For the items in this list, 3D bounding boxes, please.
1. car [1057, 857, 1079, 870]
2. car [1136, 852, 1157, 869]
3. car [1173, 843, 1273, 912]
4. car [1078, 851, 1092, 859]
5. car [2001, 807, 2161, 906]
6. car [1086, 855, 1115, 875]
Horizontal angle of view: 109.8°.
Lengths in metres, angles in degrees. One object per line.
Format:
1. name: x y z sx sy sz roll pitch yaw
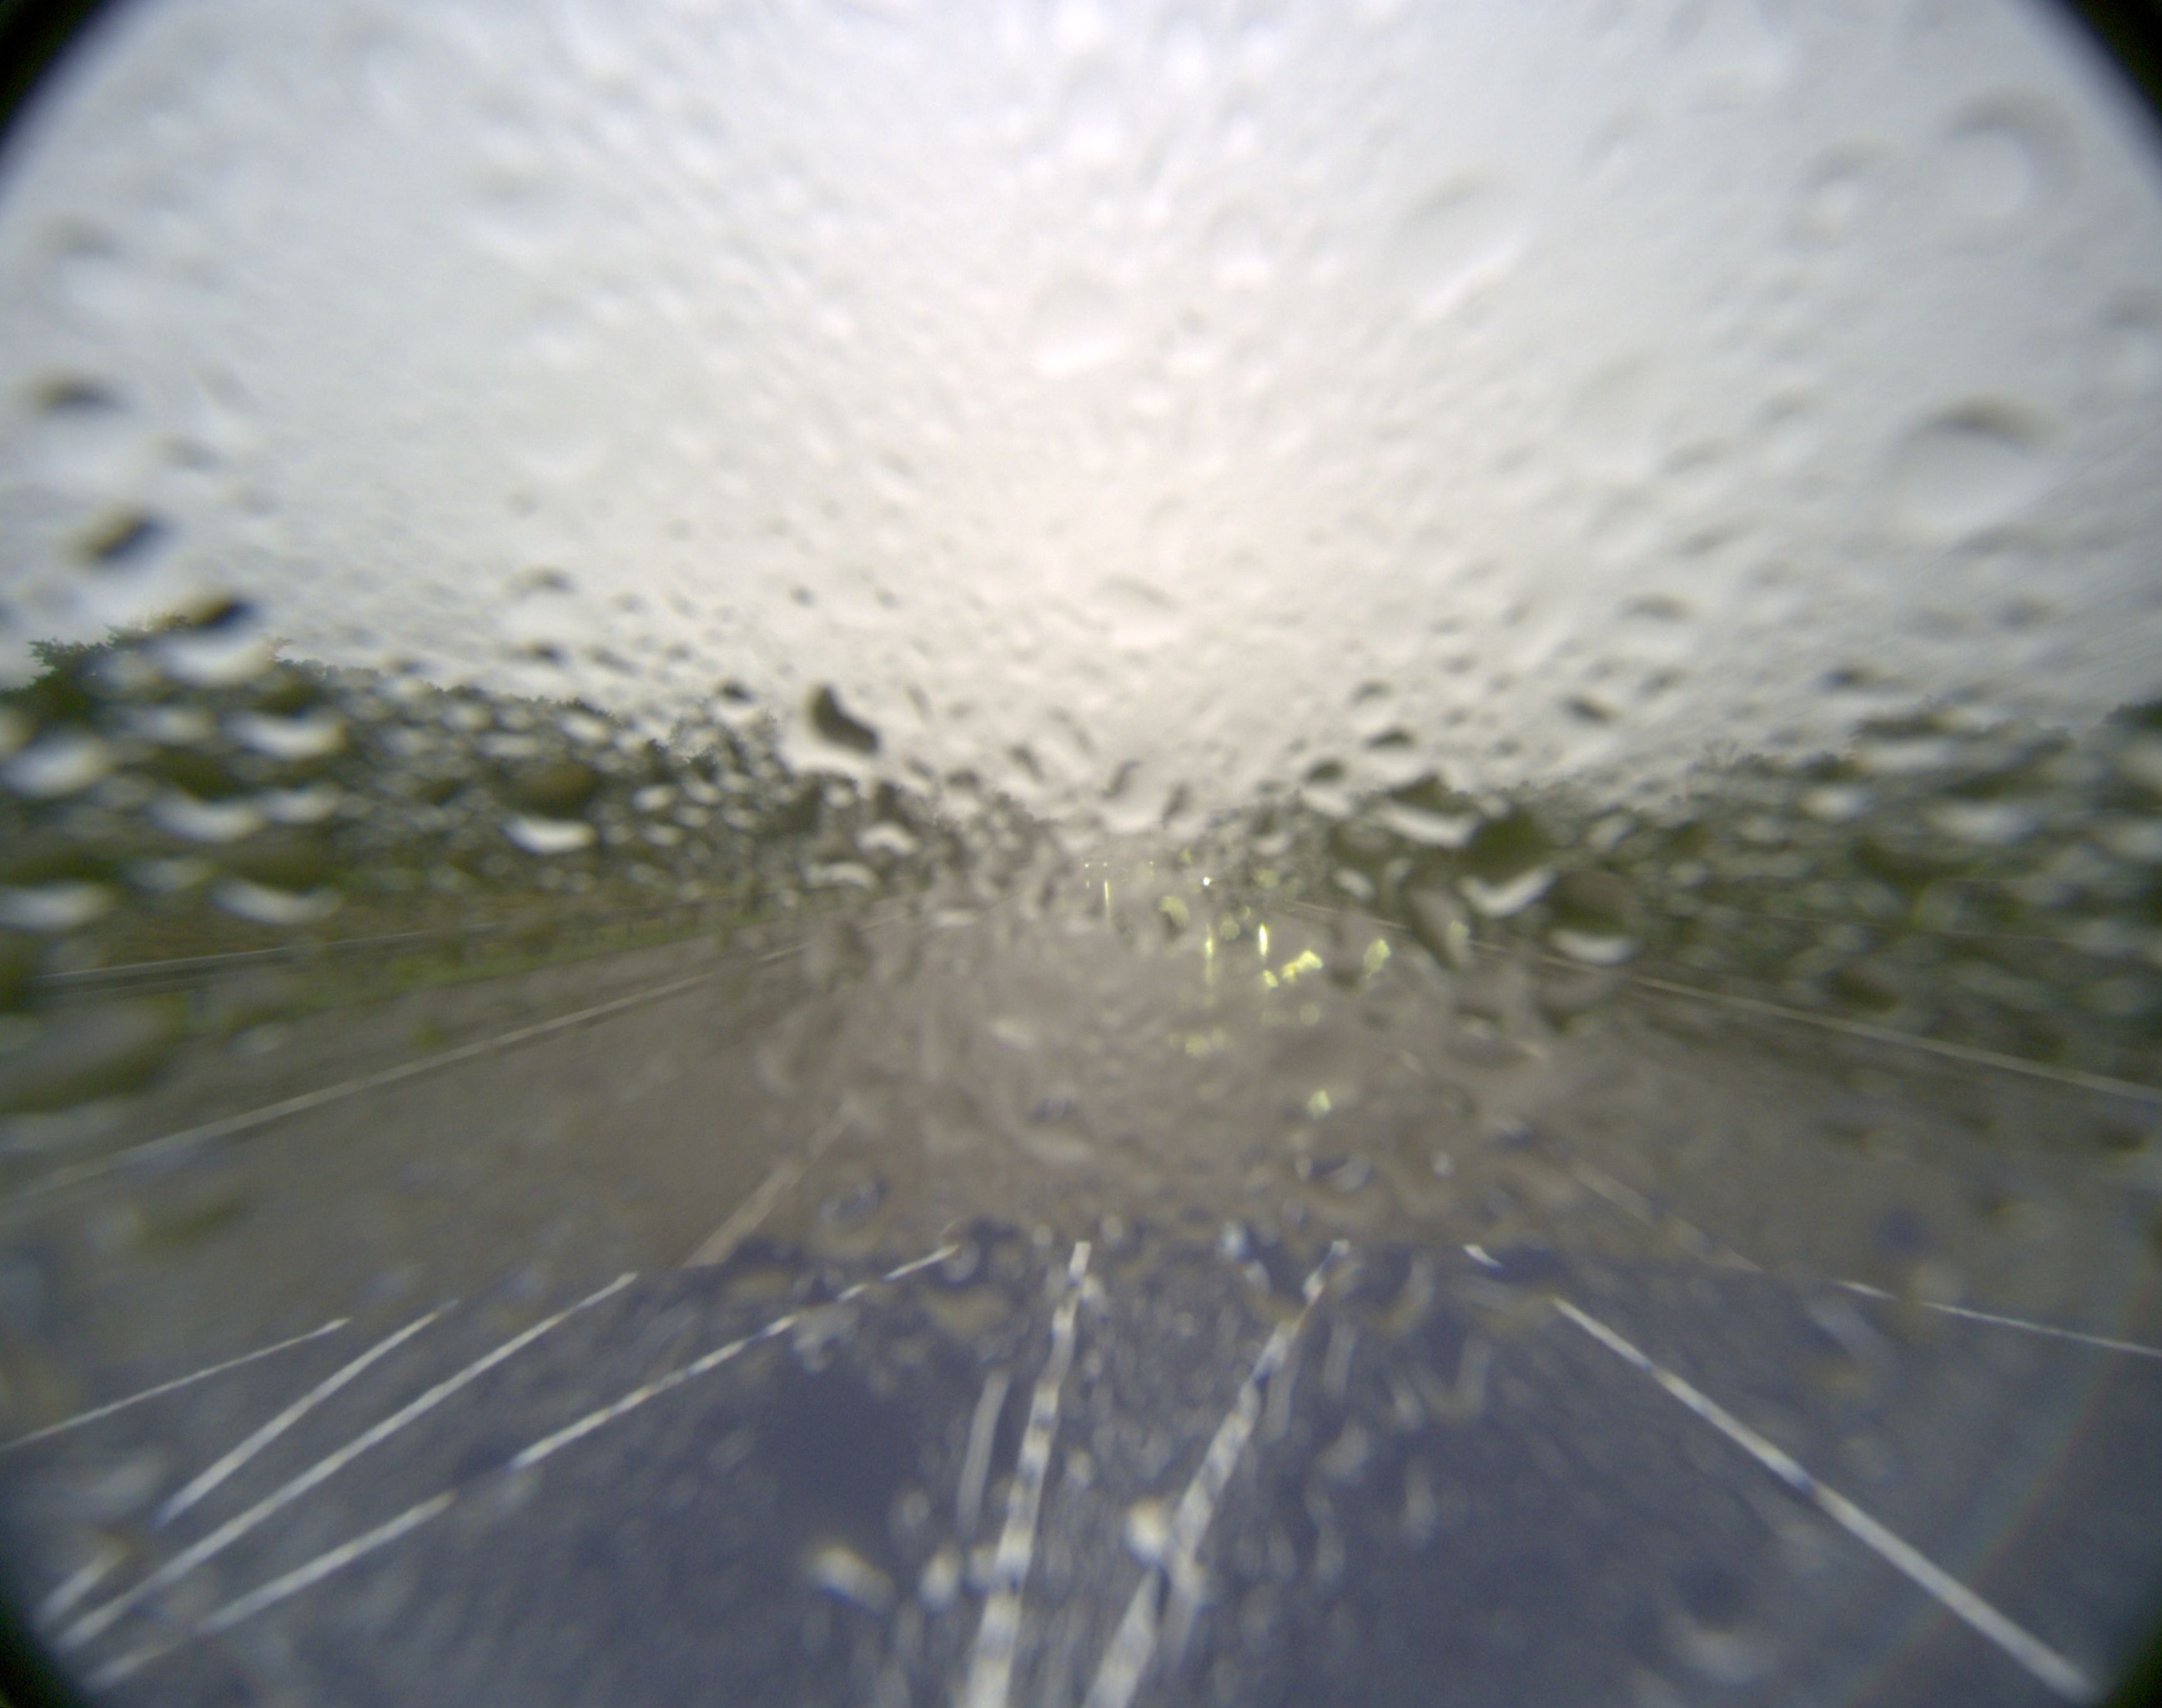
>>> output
1. car: -1.426 1.030 83.751 1.752 1.205 4.002 -5 0 7
2. car: 6.004 0.550 69.615 1.752 1.369 4.002 -3 0 7
3. car: 4.053 0.636 22.443 2.047 1.763 4.500 -2 0 0
4. car: 0.722 0.153 134.082 1.752 1.205 4.002 -5 0 7
5. car: 17.030 0.046 11.905 1.309 1.495 3.258 0 0 1
6. car: 1.483 0.779 56.548 1.752 1.406 4.002 -1 0 7
